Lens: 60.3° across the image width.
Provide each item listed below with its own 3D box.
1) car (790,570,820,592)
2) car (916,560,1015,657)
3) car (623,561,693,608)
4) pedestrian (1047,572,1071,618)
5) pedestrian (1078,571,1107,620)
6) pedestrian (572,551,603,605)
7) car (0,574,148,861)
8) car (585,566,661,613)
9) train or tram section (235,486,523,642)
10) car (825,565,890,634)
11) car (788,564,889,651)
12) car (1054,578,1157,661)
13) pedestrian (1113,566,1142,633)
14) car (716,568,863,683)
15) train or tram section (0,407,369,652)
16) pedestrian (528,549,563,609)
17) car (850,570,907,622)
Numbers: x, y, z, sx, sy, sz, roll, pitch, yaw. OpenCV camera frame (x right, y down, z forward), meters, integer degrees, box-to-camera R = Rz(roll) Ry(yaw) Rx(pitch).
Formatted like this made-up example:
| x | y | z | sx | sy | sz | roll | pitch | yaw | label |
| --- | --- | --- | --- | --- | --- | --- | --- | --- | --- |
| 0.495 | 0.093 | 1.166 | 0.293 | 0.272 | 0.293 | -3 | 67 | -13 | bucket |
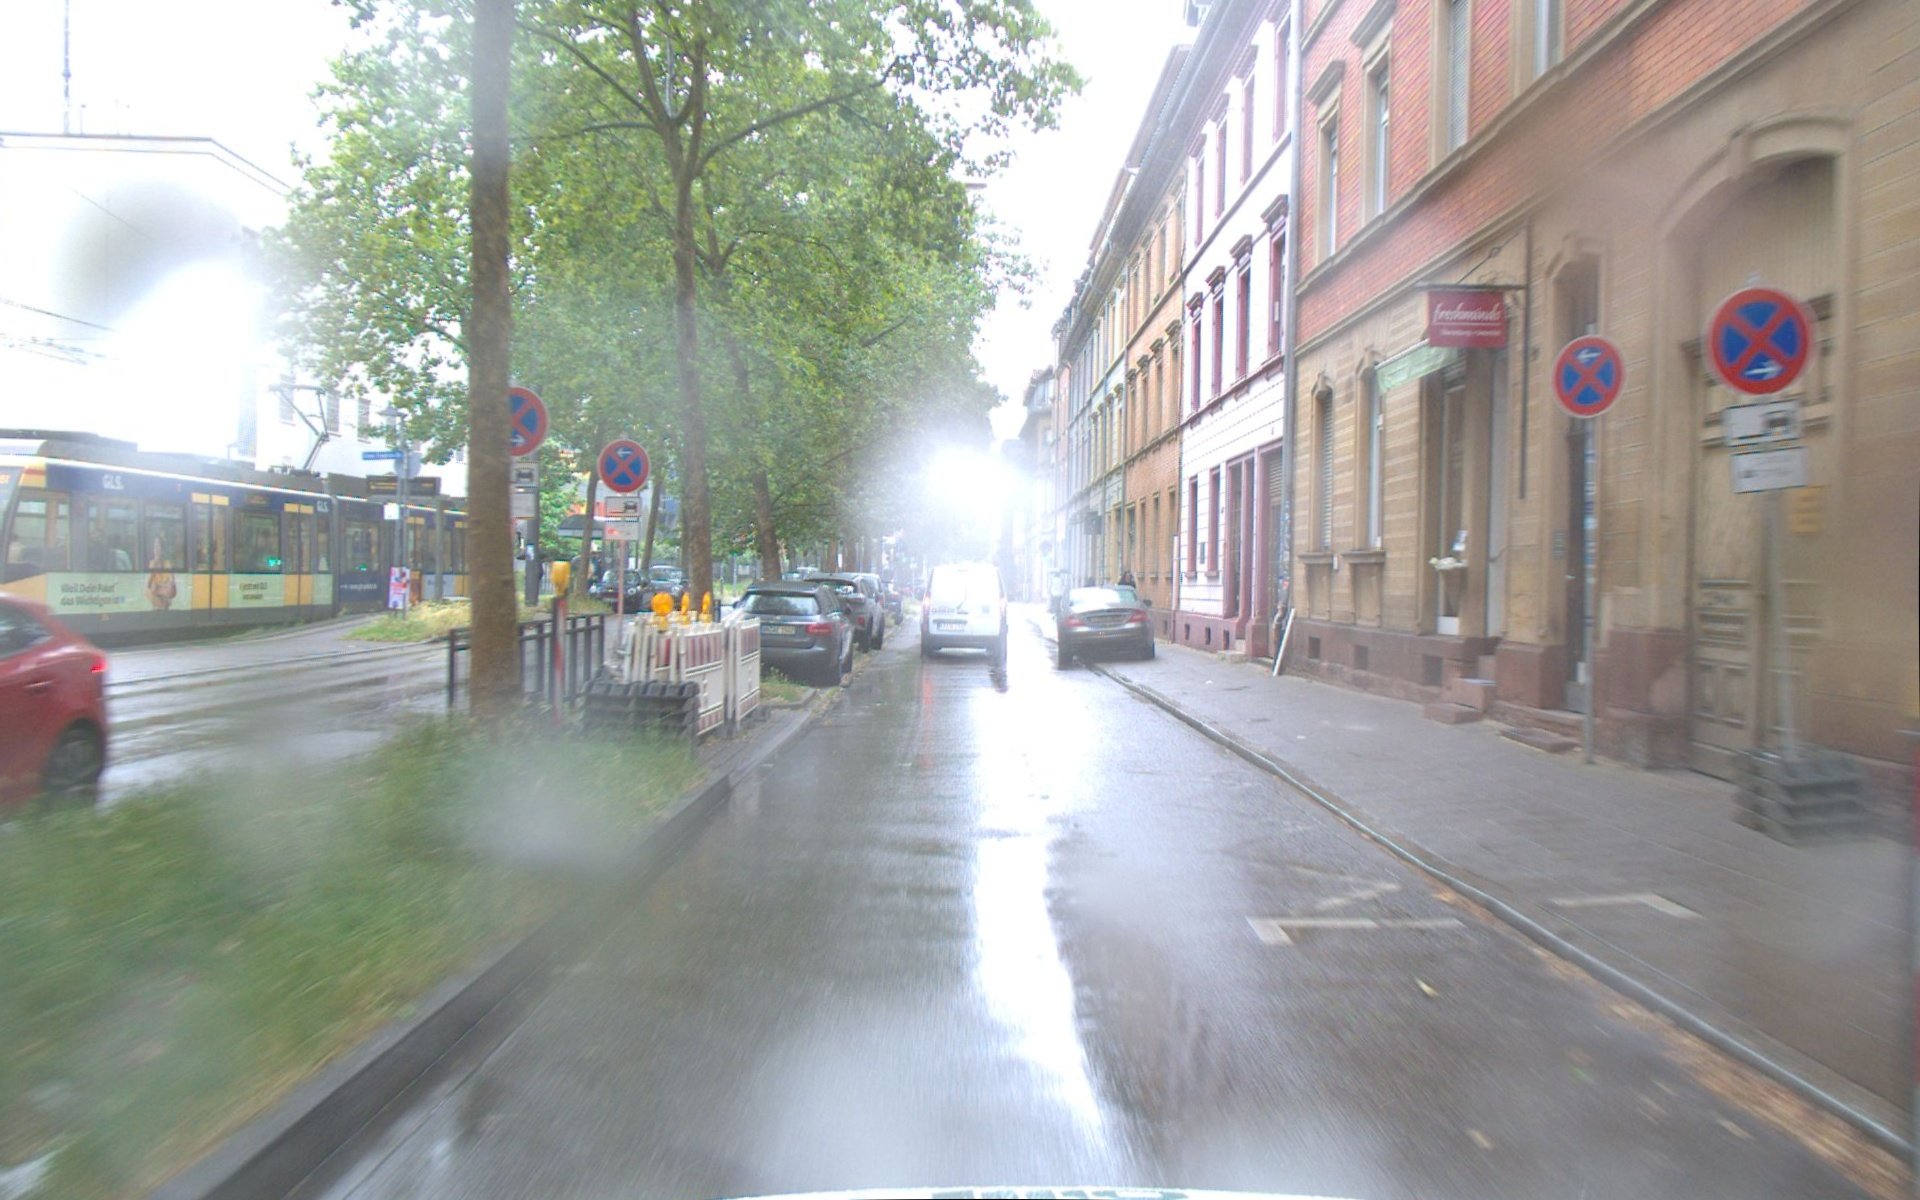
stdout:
| x | y | z | sx | sy | sz | roll | pitch | yaw | label |
| --- | --- | --- | --- | --- | --- | --- | --- | --- | --- |
| -11.697 | -1.455 | 124.772 | 1.957 | 1.608 | 3.992 | 1 | 1 | -9 | car |
| 0.110 | 0.186 | 33.803 | 1.864 | 1.829 | 4.113 | 1 | -1 | 0 | car |
| -11.339 | -0.586 | 62.327 | 1.953 | 1.641 | 3.999 | 2 | 1 | -1 | car |
| 3.839 | -0.210 | 64.197 | 0.823 | 1.746 | 1.108 | -2 | 1 | 0 | pedestrian |
| 4.241 | -0.141 | 53.060 | 0.823 | 1.538 | 1.108 | -2 | 1 | 0 | pedestrian |
| -12.329 | -0.722 | 54.760 | 0.801 | 1.733 | 0.872 | 2 | 1 | -1 | pedestrian |
| -5.662 | 0.588 | 7.636 | 1.706 | 1.422 | 4.233 | 2 | 1 | 0 | car |
| -10.980 | -0.360 | 54.137 | 1.703 | 1.366 | 3.755 | 4 | 1 | -1 | car |
| -15.627 | -0.751 | 46.329 | 3.043 | 3.621 | 14.671 | 1 | -1 | -1 | train or tram section |
| -2.727 | -0.046 | 44.375 | 1.591 | 1.711 | 3.658 | 2 | 1 | -3 | car |
| -2.462 | 0.126 | 34.452 | 1.663 | 1.664 | 4.355 | 1 | 0 | 1 | car |
| 2.793 | 0.337 | 32.524 | 1.776 | 1.445 | 4.698 | -2 | 0 | 3 | car |
| 4.359 | -0.015 | 43.114 | 0.625 | 1.714 | 0.603 | -2 | 0 | -1 | pedestrian |
| -2.520 | 0.348 | 25.451 | 1.791 | 1.530 | 4.613 | 2 | 0 | -1 | car |
| -15.399 | -0.975 | 31.741 | 3.043 | 3.621 | 14.574 | 1 | -1 | -1 | train or tram section |
| -12.244 | -0.630 | 48.862 | 0.801 | 1.733 | 0.872 | 1 | 0 | -1 | pedestrian |
| -2.608 | -0.148 | 53.663 | 1.615 | 1.526 | 4.119 | 3 | 0 | 0 | car |
